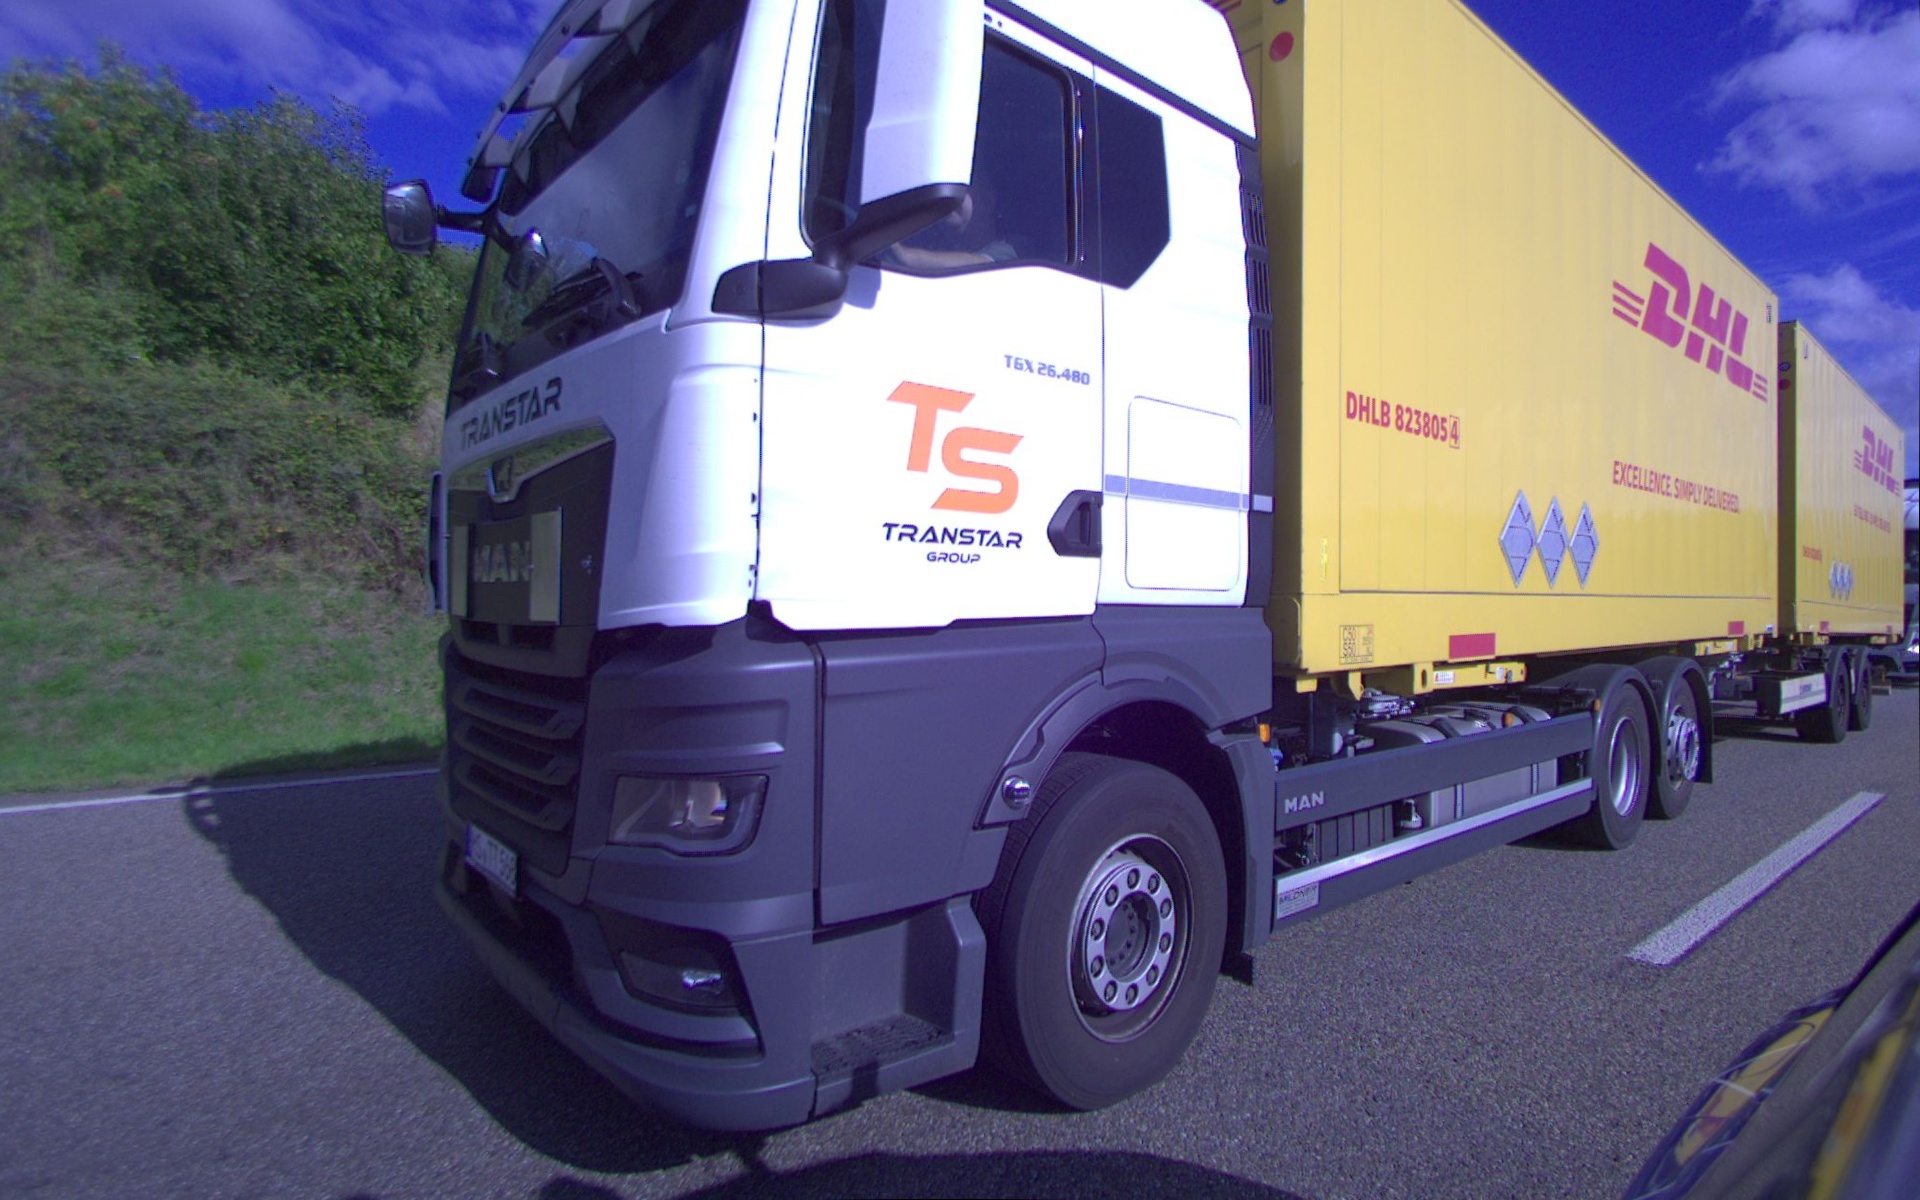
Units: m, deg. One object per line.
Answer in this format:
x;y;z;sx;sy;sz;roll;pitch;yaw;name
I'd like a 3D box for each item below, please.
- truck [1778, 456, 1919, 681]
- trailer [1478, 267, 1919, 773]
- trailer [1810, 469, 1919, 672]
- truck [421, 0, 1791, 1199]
19.654;-0.591;21.295;6.377;4.141;2.653;0;0;-40;truck
9.267;-0.649;12.040;8.770;4.120;2.416;0;-1;-41;trailer
24.565;-0.630;25.566;13.737;4.150;2.646;0;0;-41;trailer
2.345;-0.704;6.001;9.495;4.120;2.416;0;-1;-41;truck
